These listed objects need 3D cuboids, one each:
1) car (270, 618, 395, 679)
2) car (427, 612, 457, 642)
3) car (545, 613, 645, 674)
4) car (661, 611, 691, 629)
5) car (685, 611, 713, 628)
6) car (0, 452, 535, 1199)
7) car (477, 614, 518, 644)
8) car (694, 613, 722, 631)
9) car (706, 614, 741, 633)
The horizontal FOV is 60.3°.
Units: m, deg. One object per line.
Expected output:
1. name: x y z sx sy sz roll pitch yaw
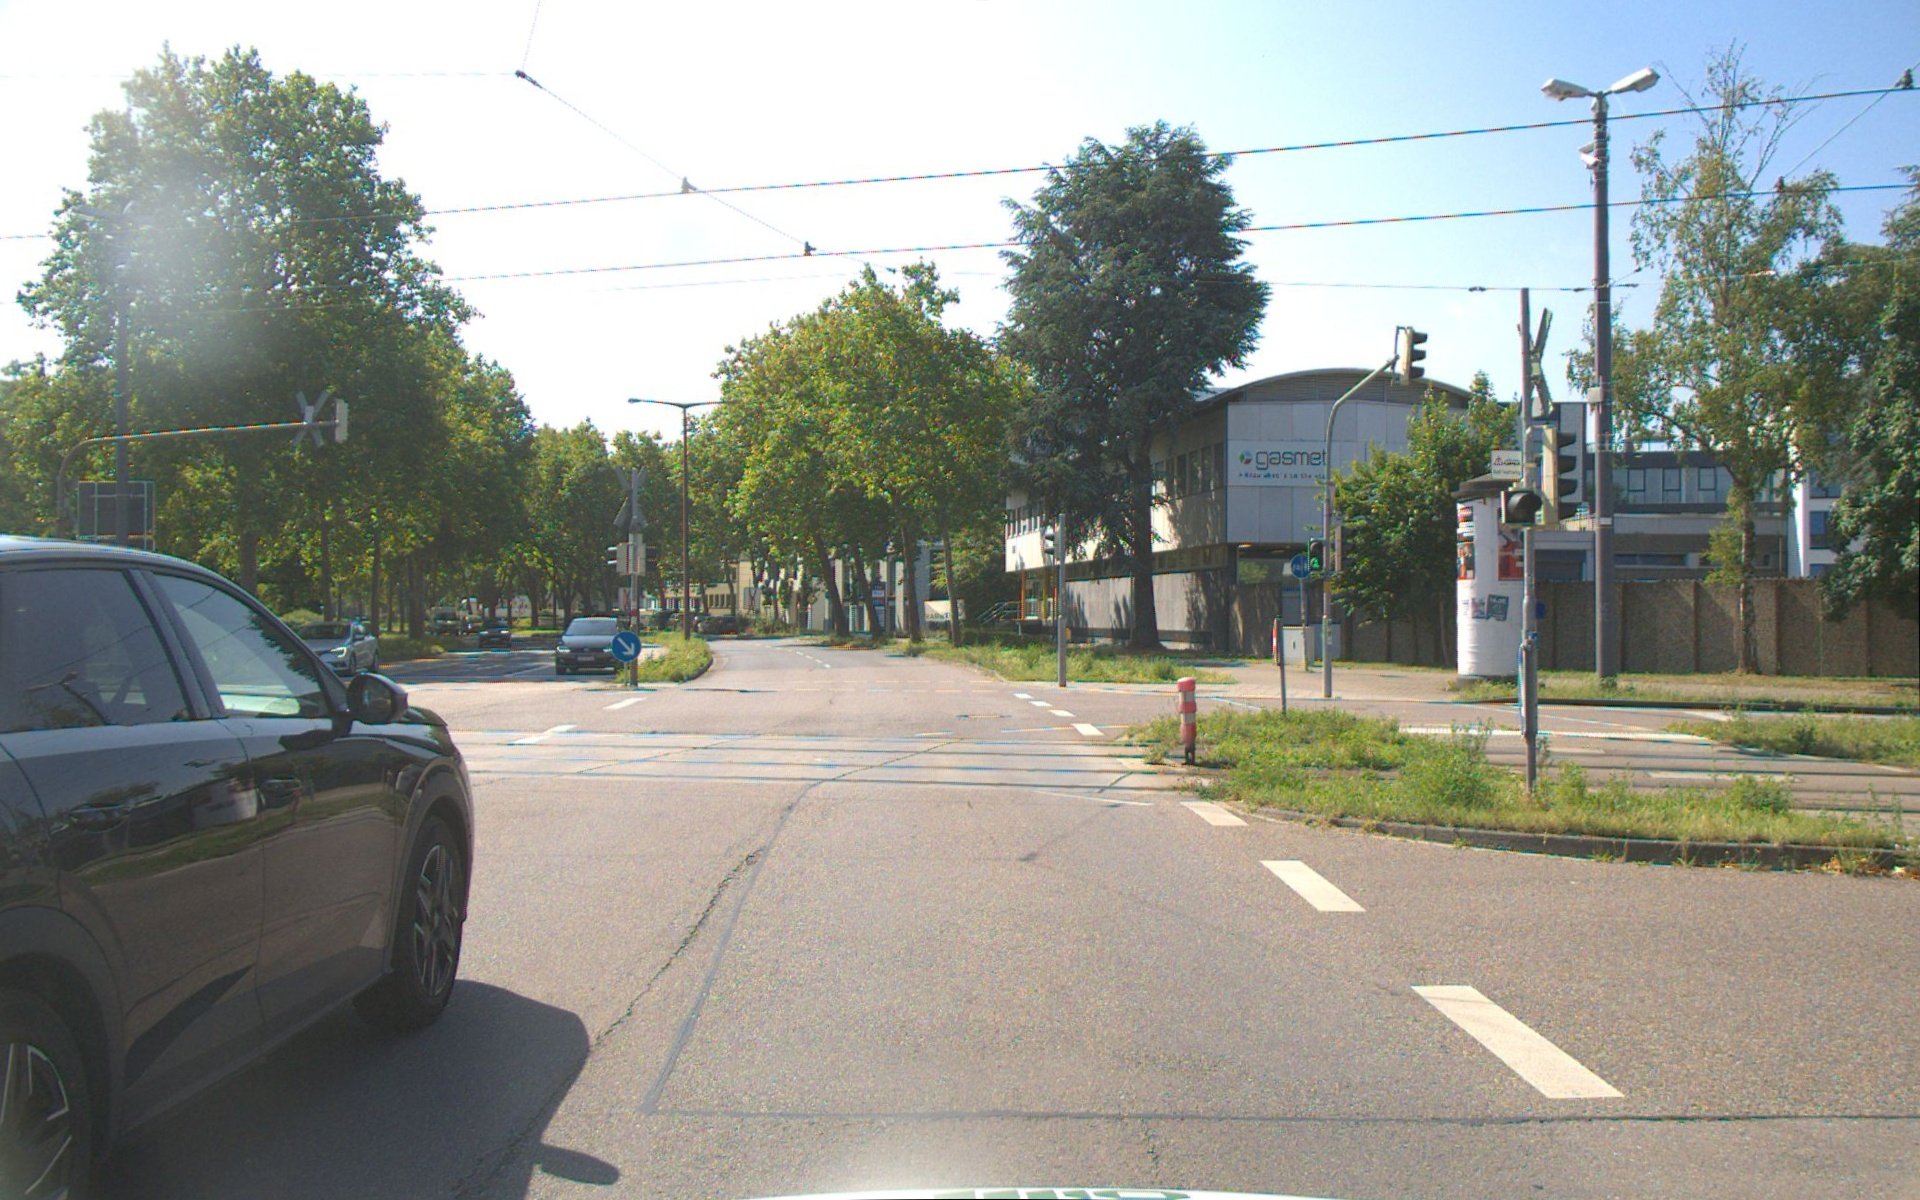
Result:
1. car: -16.713 1.259 44.258 1.659 1.534 4.659 0 0 -1
2. car: -47.927 2.535 152.984 2.032 2.659 7.168 -1 -1 -22
3. car: -9.604 1.119 43.792 1.659 1.534 4.130 0 0 1
4. car: -26.736 1.856 155.614 1.684 1.699 4.499 0 0 -24
5. car: -22.814 1.665 144.288 1.681 1.480 4.630 0 0 -19
6. car: -2.643 0.600 4.365 1.833 1.726 4.436 0 0 1
7. car: -26.381 1.645 94.470 1.677 1.617 4.424 -2 0 -9
8. car: -21.207 1.841 139.045 1.681 1.514 4.078 0 0 -19
9. car: -19.161 1.878 134.021 1.684 1.513 4.685 -1 0 -23
